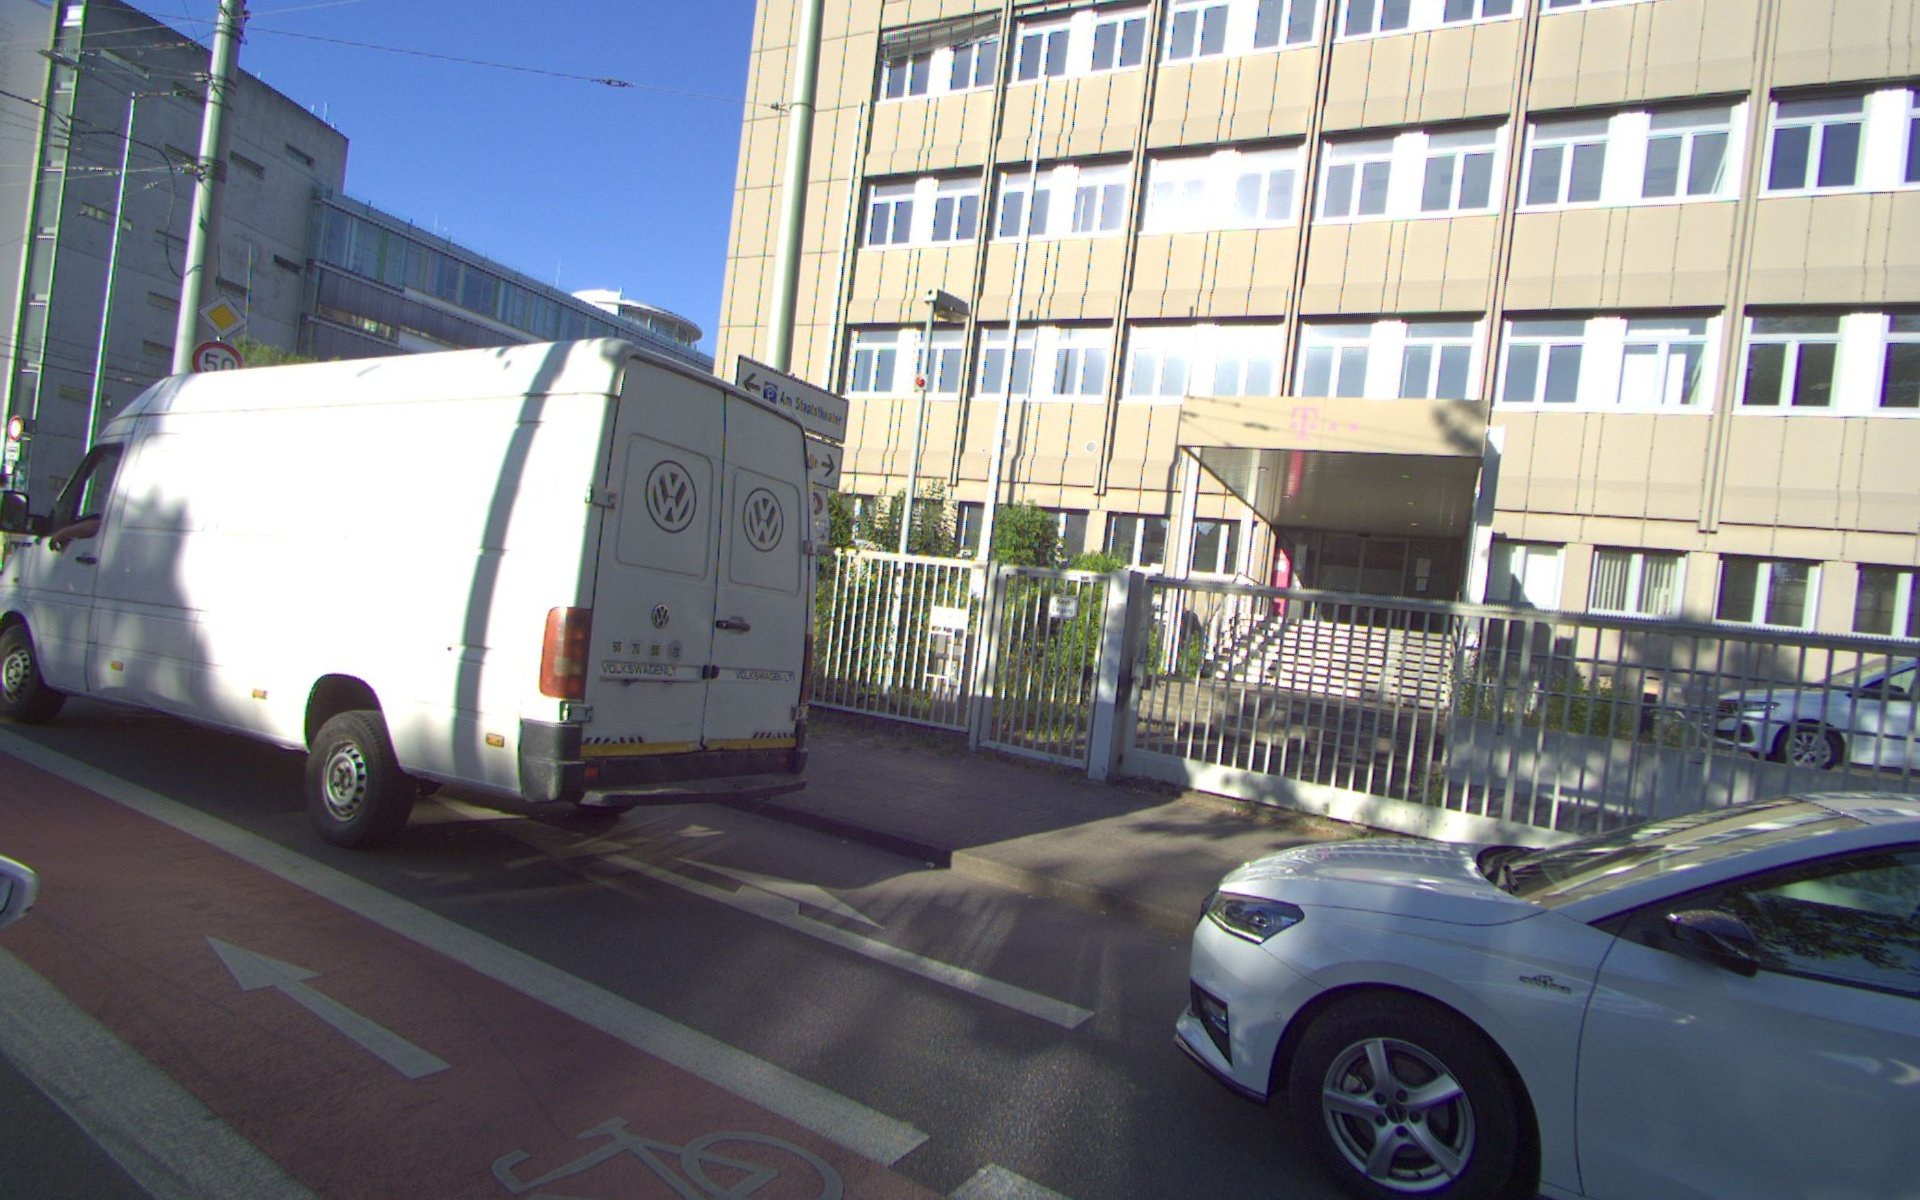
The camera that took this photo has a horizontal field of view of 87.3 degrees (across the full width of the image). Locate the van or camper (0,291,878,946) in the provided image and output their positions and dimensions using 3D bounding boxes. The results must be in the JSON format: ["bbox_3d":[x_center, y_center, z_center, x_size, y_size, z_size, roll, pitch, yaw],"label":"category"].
[{"bbox_3d":[-3.806,-0.157,6.549,6.196,2.748,1.973,7,-1,29],"label":"van or camper"}]

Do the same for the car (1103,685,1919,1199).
[{"bbox_3d":[2.685,1.255,3.021,4.006,1.405,1.705,7,-1,30],"label":"car"}]

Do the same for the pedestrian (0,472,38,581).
[{"bbox_3d":[-17.220,-1.348,17.916,1.196,1.846,0.778,7,1,33],"label":"pedestrian"}]

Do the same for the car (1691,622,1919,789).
[{"bbox_3d":[12.812,1.531,13.255,4.701,1.865,1.998,7,0,27],"label":"car"}]
